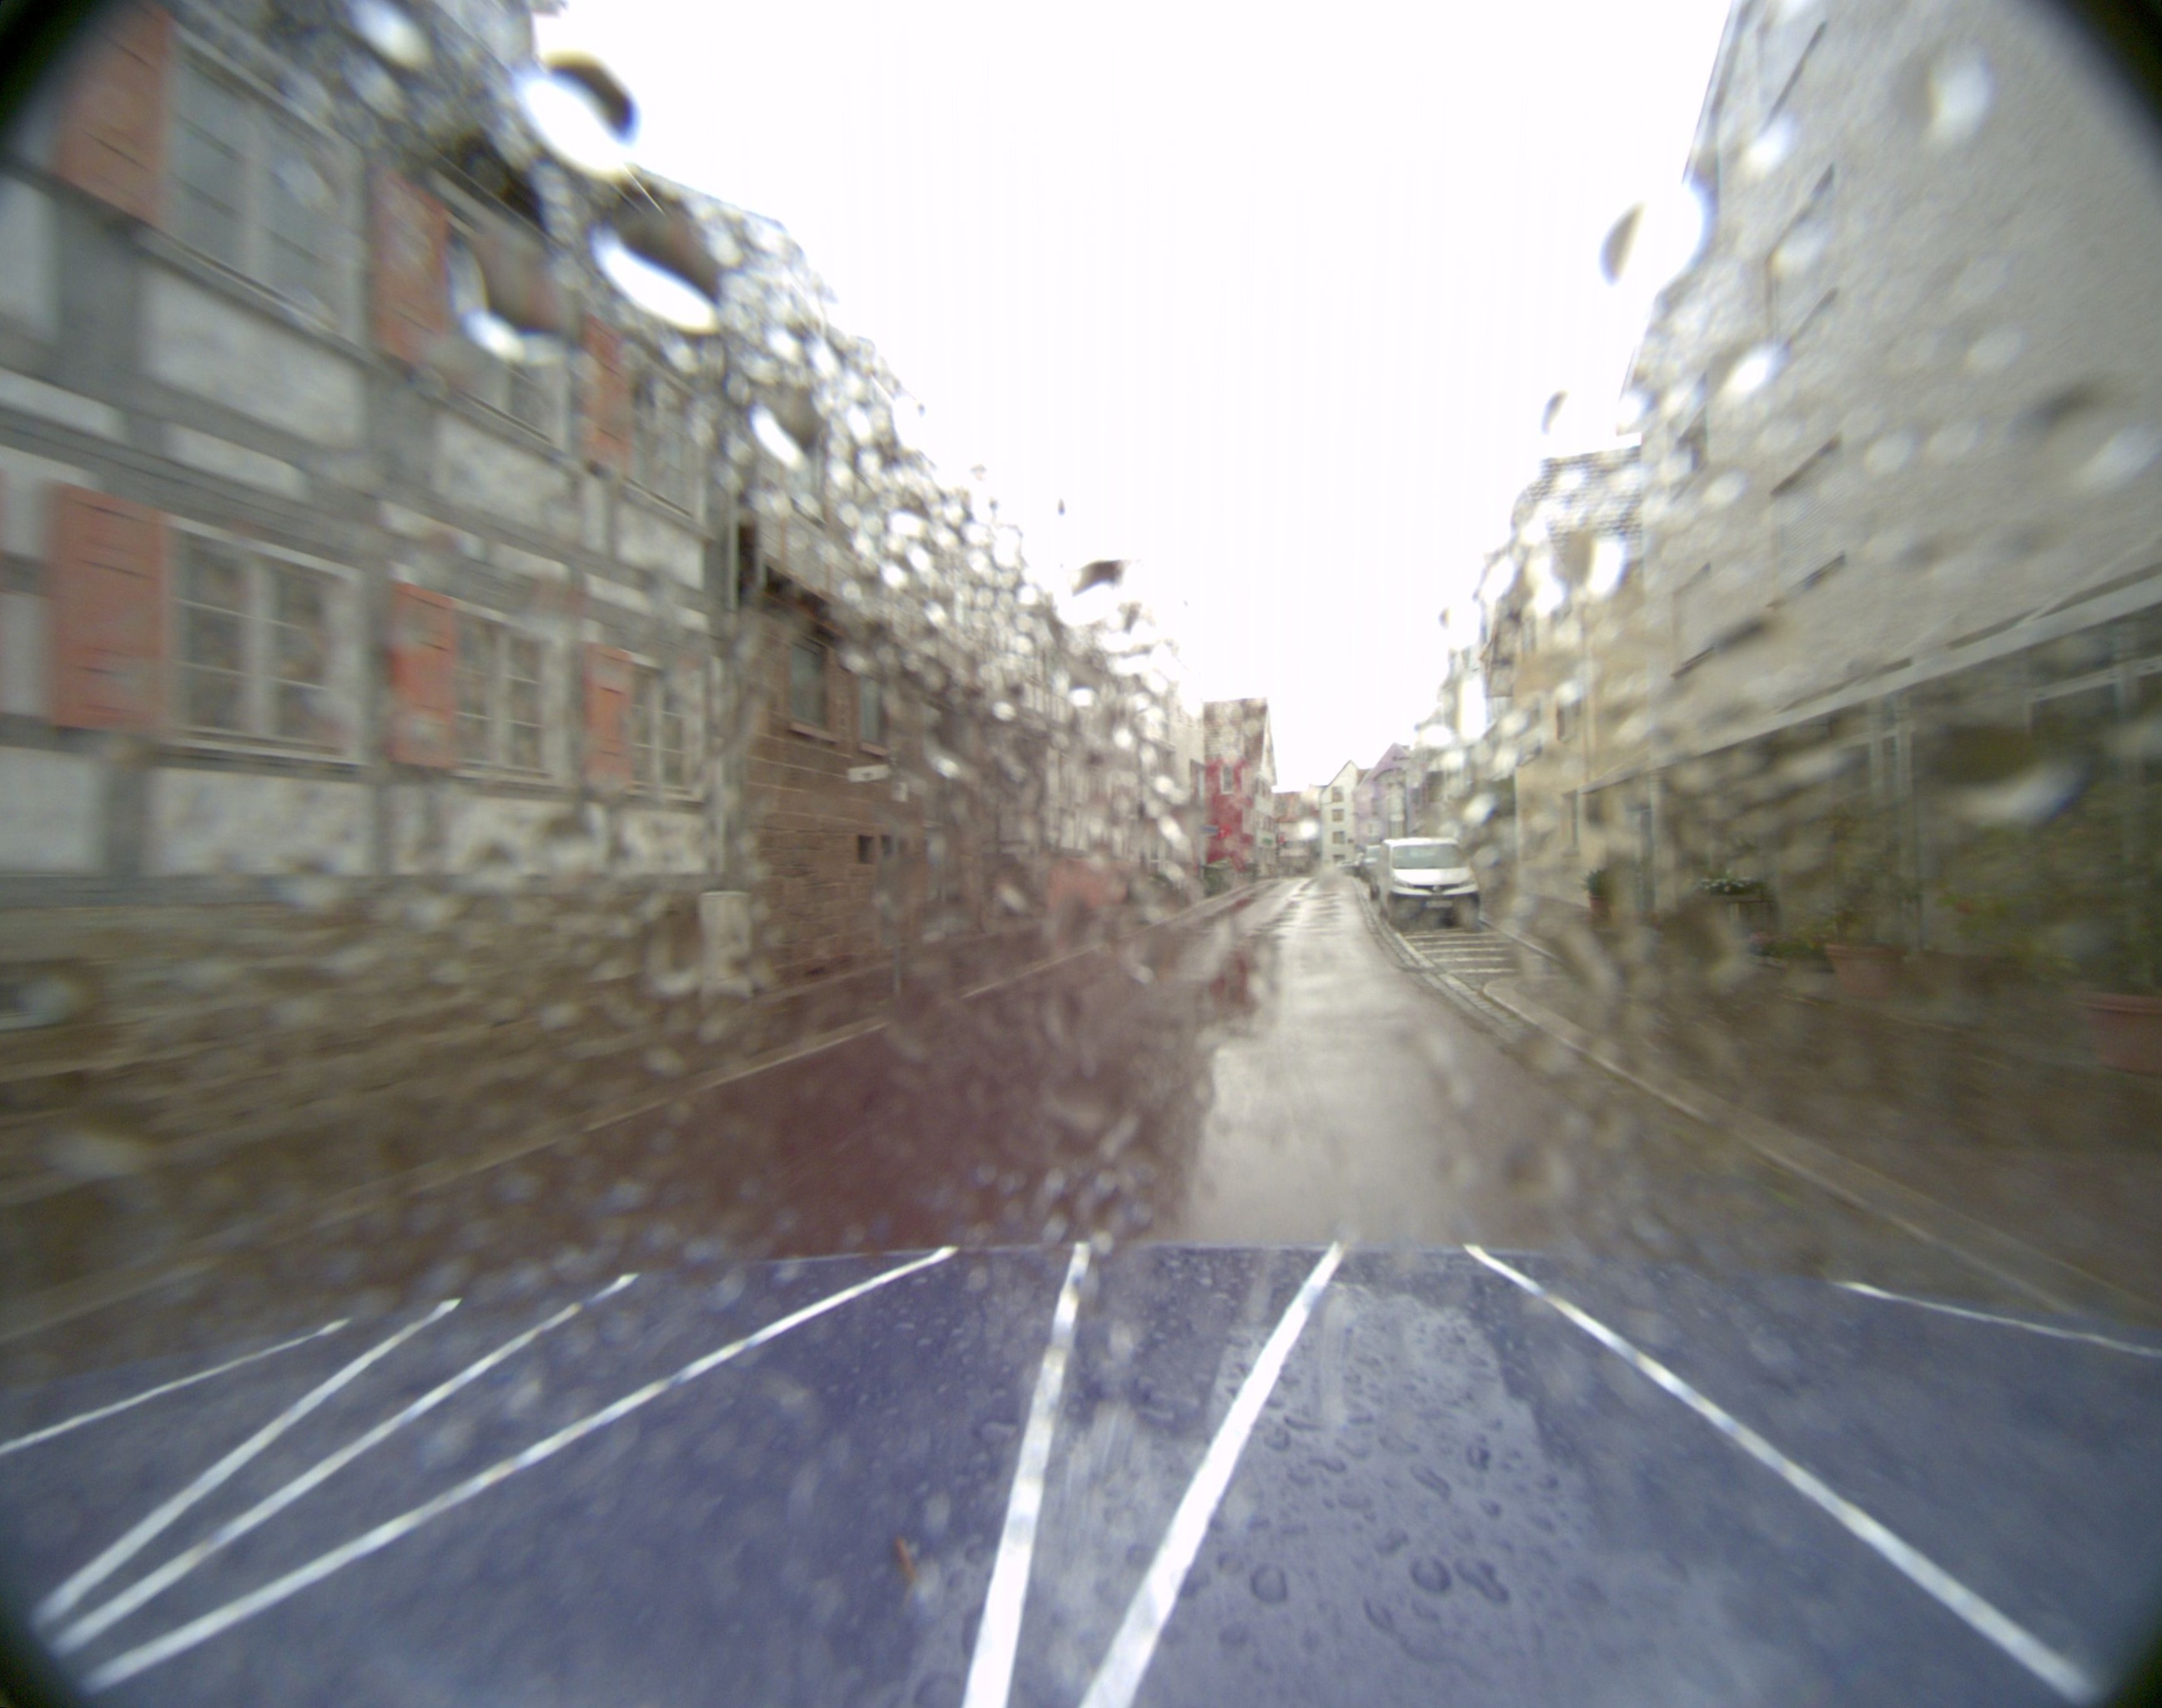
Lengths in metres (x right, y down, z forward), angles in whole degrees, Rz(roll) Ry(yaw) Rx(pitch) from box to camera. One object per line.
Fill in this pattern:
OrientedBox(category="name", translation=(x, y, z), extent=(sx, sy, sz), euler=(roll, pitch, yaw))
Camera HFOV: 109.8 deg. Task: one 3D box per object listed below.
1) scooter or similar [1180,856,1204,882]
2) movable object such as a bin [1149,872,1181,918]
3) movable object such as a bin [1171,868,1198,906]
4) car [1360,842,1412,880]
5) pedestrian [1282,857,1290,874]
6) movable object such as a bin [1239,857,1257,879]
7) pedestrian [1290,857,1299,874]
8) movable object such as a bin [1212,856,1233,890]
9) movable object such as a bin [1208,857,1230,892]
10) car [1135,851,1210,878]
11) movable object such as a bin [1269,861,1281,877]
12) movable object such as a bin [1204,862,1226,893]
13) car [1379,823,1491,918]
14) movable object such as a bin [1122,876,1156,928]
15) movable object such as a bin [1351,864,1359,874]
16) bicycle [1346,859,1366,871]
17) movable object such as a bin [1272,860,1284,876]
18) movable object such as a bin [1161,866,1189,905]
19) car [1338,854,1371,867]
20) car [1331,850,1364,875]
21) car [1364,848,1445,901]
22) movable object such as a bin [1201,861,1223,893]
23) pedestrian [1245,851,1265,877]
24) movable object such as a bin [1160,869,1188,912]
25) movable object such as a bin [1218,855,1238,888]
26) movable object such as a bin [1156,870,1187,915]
OrientedBox(category="scooter or similar", translation=(5.115, 0.699, 35.055), extent=(0.665, 1.139, 1.448), euler=(-1, 1, 26))
OrientedBox(category="movable object such as a bin", translation=(2.188, 1.058, 19.696), extent=(0.638, 1.140, 0.581), euler=(-1, 1, 24))
OrientedBox(category="movable object such as a bin", translation=(3.126, 0.987, 22.916), extent=(0.679, 1.090, 0.651), euler=(-2, 0, 15))
OrientedBox(category="car", translation=(13.754, 0.280, 34.503), extent=(1.782, 1.559, 4.413), euler=(-2, 1, 17))
OrientedBox(category="pedestrian", translation=(23.408, 1.310, 86.629), extent=(0.655, 1.892, 0.658), euler=(1, 1, -7))
OrientedBox(category="movable object such as a bin", translation=(8.652, 0.725, 39.266), extent=(0.805, 1.124, 0.863), euler=(-2, 1, 17))
OrientedBox(category="pedestrian", translation=(24.287, 1.310, 86.438), extent=(0.774, 1.893, 0.805), euler=(-2, 1, -7))
OrientedBox(category="movable object such as a bin", translation=(5.506, 0.729, 29.534), extent=(0.638, 1.283, 0.633), euler=(-1, 1, 24))
OrientedBox(category="movable object such as a bin", translation=(5.226, 0.774, 28.735), extent=(0.638, 1.283, 0.633), euler=(-1, 1, 24))
OrientedBox(category="car", translation=(5.400, 0.614, 44.962), extent=(3.989, 1.506, 1.915), euler=(0, 1, 29))
OrientedBox(category="movable object such as a bin", translation=(13.261, 0.994, 51.917), extent=(0.730, 1.075, 0.647), euler=(-2, 0, 20))
OrientedBox(category="movable object such as a bin", translation=(4.950, 0.863, 28.098), extent=(0.617, 1.125, 0.633), euler=(-1, 1, 24))
OrientedBox(category="car", translation=(7.654, 0.296, 16.812), extent=(1.725, 1.814, 4.434), euler=(-2, 1, 19))
OrientedBox(category="movable object such as a bin", translation=(1.333, 1.096, 17.443), extent=(0.610, 1.121, 0.600), euler=(-2, 1, 19))
OrientedBox(category="movable object such as a bin", translation=(29.329, 1.632, 81.426), extent=(0.687, 1.067, 0.670), euler=(-2, -1, 10))
OrientedBox(category="bicycle", translation=(26.560, 1.055, 73.514), extent=(1.750, 1.158, 0.444), euler=(-2, 1, -1))
OrientedBox(category="movable object such as a bin", translation=(13.797, 0.995, 53.187), extent=(0.677, 1.078, 0.699), euler=(-2, 0, 20))
OrientedBox(category="movable object such as a bin", translation=(2.704, 0.899, 21.815), extent=(0.670, 1.075, 0.588), euler=(0, 2, 17))
OrientedBox(category="car", translation=(36.644, 0.906, 101.924), extent=(3.989, 1.574, 1.836), euler=(-2, 1, 26))
OrientedBox(category="car", translation=(16.658, 0.537, 47.354), extent=(1.832, 1.490, 4.771), euler=(-1, -1, 20))
OrientedBox(category="car", translation=(9.578, 0.548, 22.742), extent=(1.683, 1.381, 3.829), euler=(-2, 1, 15))
OrientedBox(category="movable object such as a bin", translation=(4.742, 0.814, 27.475), extent=(0.617, 1.125, 0.633), euler=(-1, 1, 24))
OrientedBox(category="pedestrian", translation=(11.376, 0.656, 49.663), extent=(1.179, 1.687, 1.179), euler=(0, 0, 16))
OrientedBox(category="movable object such as a bin", translation=(2.603, 1.013, 21.165), extent=(0.639, 1.140, 0.633), euler=(-2, 1, 16))
OrientedBox(category="movable object such as a bin", translation=(5.926, 0.691, 30.559), extent=(0.638, 1.283, 0.633), euler=(-1, 1, 24))
OrientedBox(category="movable object such as a bin", translation=(2.426, 1.023, 20.336), extent=(0.638, 1.140, 0.604), euler=(-1, 1, 24))
